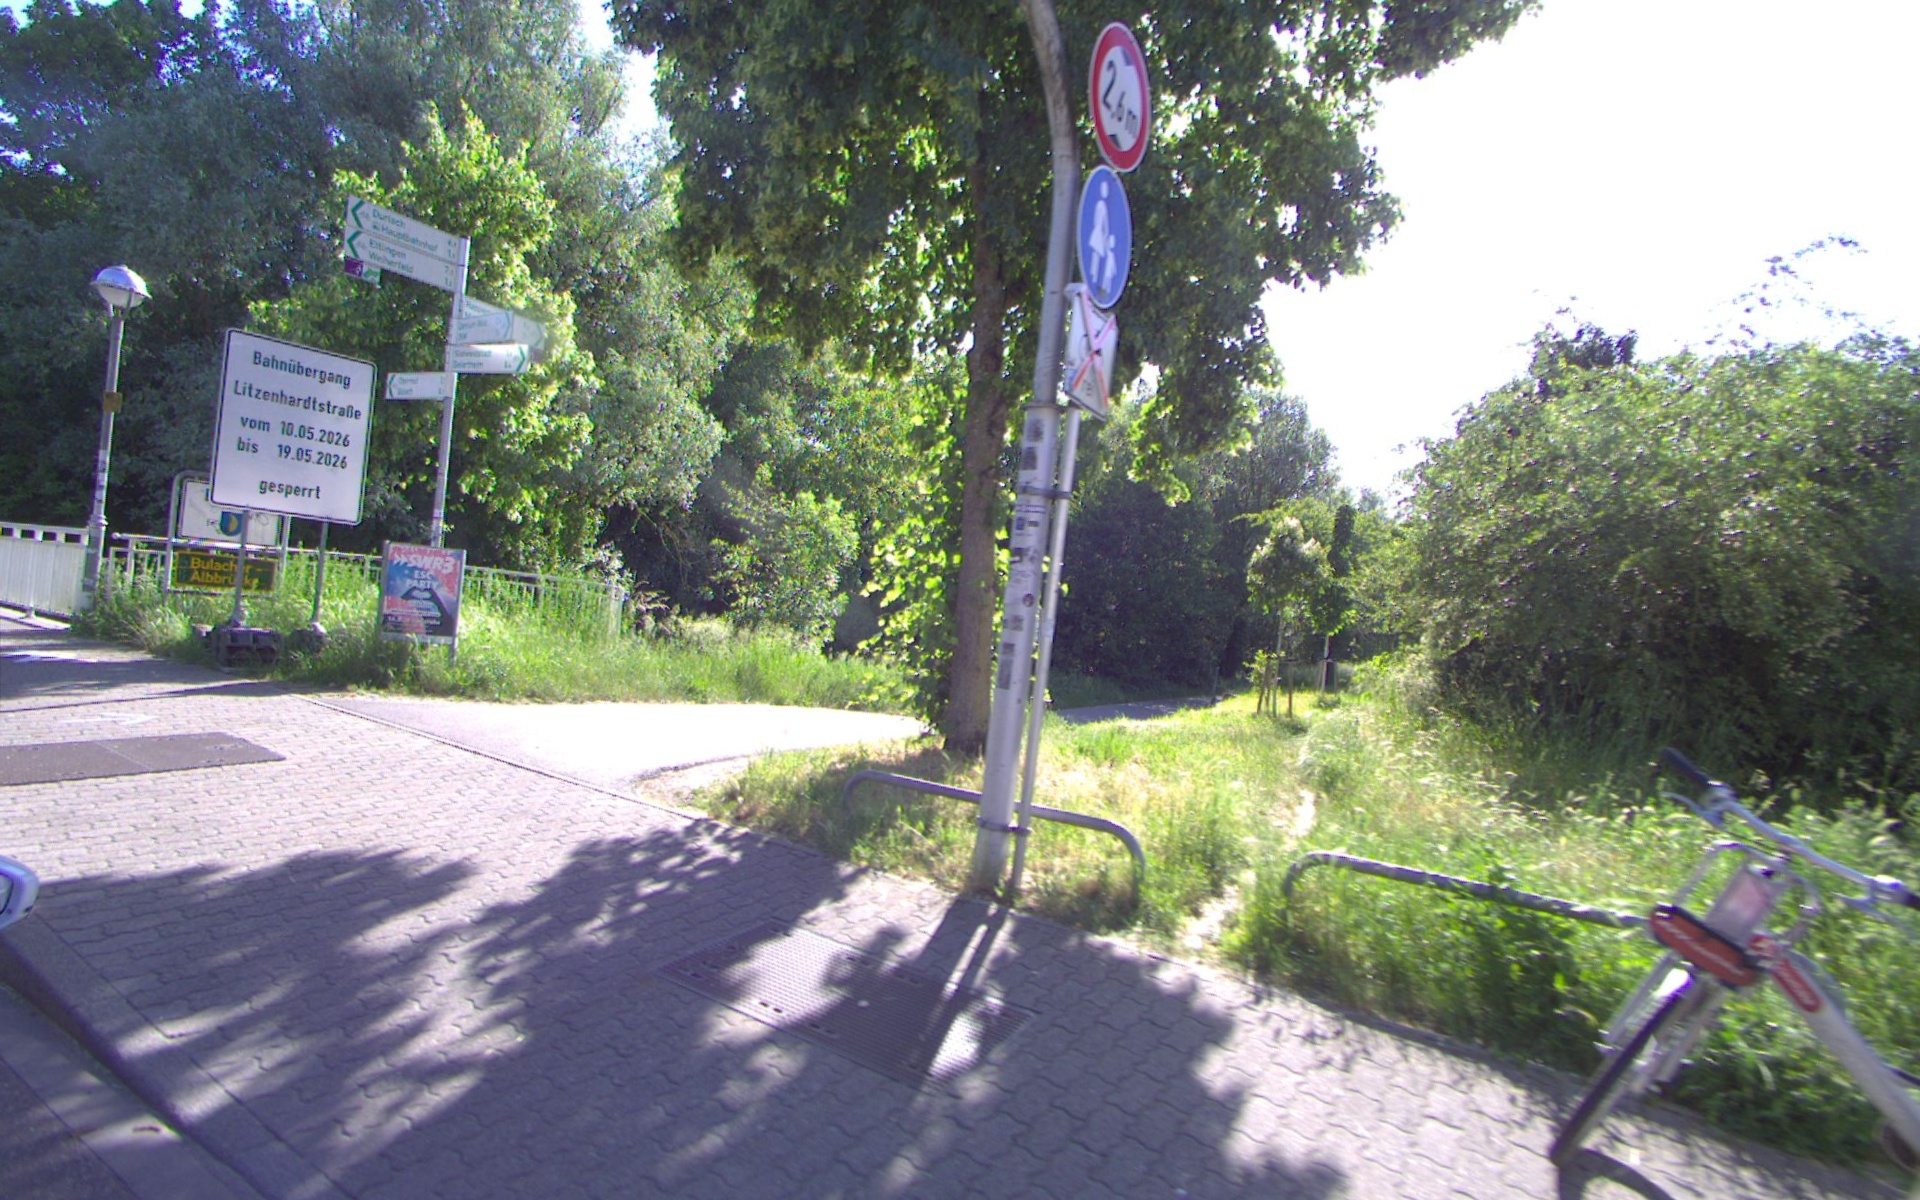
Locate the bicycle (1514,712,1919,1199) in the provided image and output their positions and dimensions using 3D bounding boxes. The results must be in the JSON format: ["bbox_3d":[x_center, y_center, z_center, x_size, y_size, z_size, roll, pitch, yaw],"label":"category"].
[{"bbox_3d":[2.232,0.996,2.348,1.514,1.174,0.688,7,5,31],"label":"bicycle"}]
